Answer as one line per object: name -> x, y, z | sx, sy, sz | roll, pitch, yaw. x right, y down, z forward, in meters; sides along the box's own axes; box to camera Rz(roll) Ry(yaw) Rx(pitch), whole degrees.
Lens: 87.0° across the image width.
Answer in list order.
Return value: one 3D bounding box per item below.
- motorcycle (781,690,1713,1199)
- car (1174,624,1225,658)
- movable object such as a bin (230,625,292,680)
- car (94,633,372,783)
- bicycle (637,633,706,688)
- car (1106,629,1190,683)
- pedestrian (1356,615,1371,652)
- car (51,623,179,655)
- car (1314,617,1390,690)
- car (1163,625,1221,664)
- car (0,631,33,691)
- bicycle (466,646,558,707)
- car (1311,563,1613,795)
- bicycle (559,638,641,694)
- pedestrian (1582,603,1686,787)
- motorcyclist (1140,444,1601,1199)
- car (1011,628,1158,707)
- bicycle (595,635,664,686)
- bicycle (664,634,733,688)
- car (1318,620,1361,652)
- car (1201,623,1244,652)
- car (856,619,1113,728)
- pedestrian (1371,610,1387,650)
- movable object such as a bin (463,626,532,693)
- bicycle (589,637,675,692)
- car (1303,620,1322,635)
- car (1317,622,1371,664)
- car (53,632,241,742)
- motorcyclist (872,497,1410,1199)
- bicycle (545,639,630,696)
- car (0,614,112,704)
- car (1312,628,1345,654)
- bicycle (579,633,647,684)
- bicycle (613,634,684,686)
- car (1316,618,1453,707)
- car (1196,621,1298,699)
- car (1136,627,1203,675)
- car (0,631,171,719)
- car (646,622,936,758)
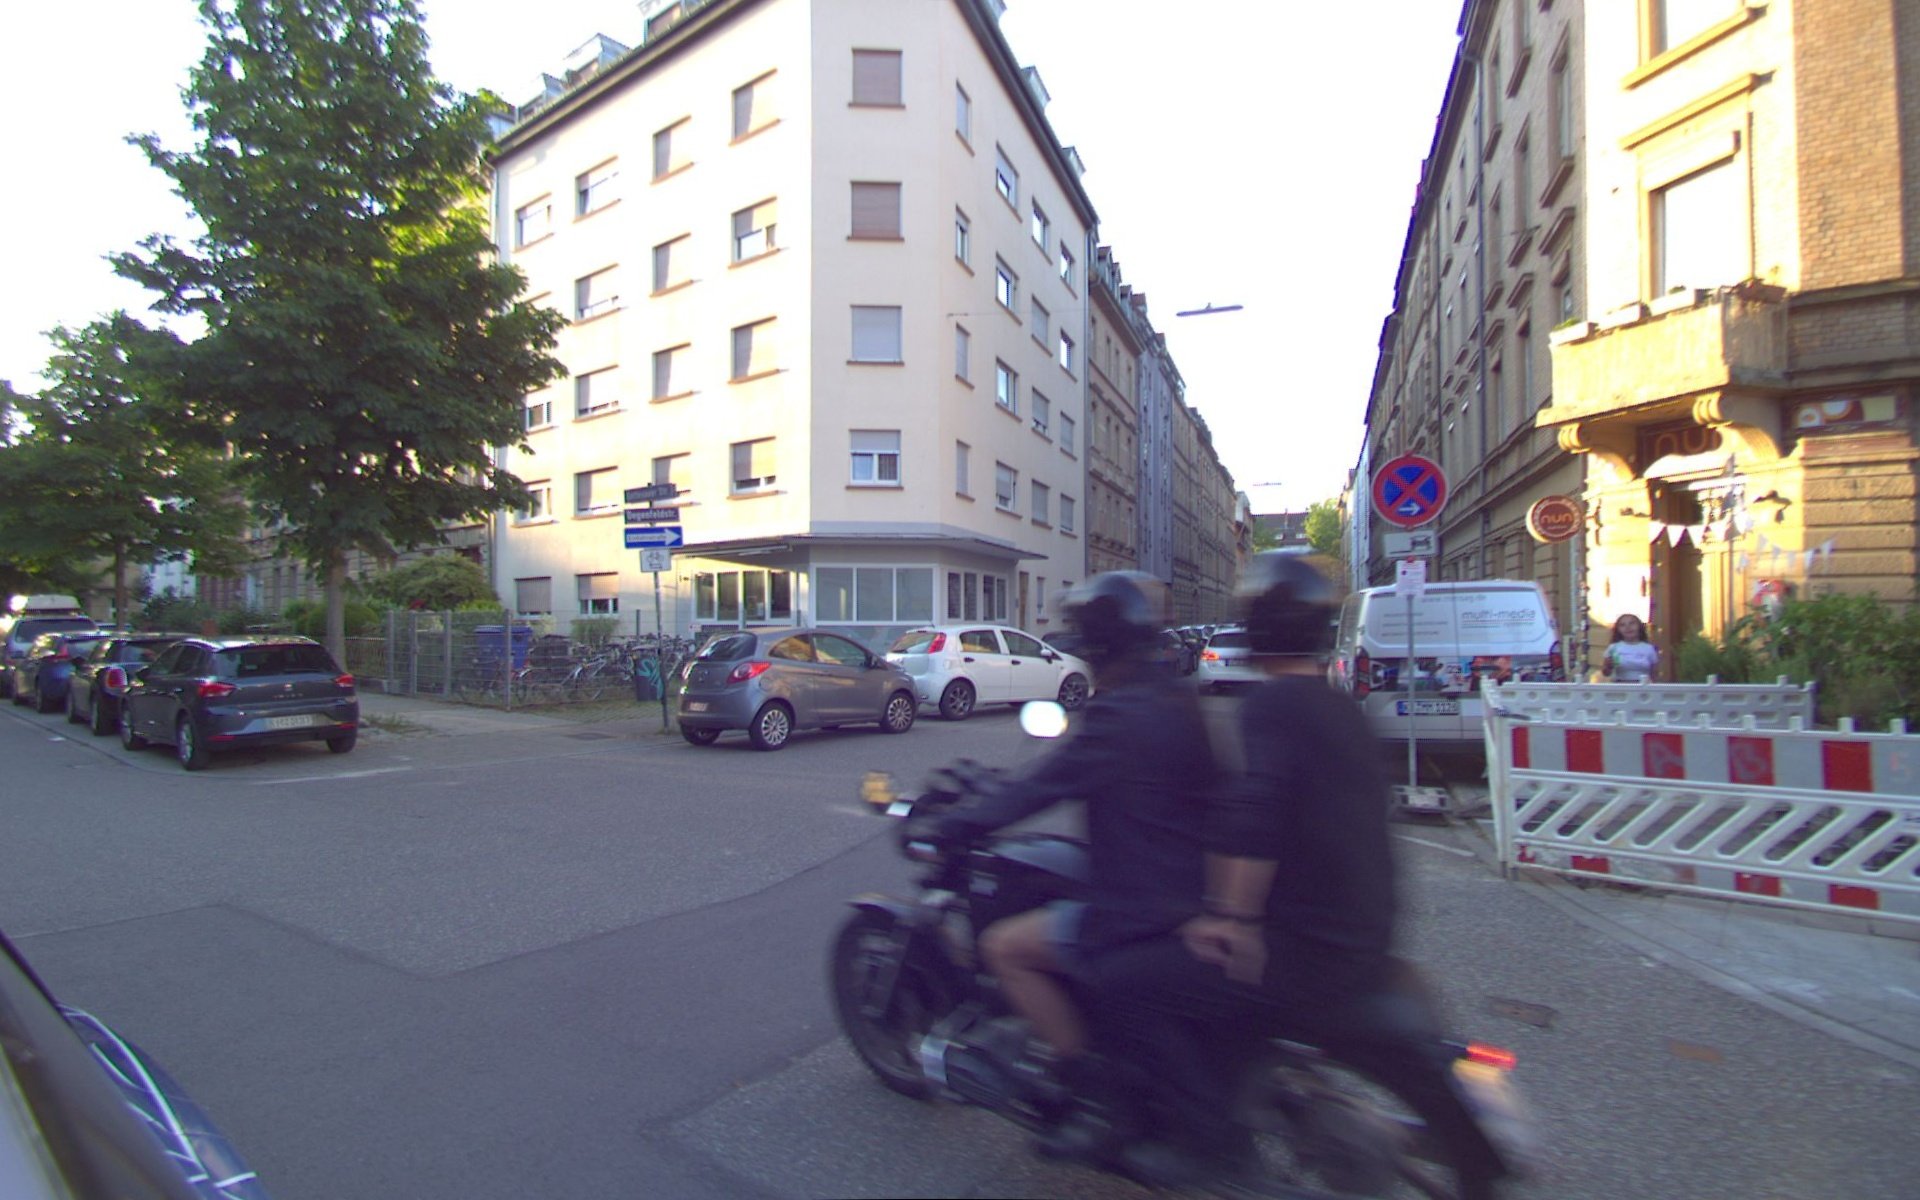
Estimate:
motorcycle -> 0.471, 0.884, 2.484 | 0.835, 1.218, 2.078 | 4, -4, -40
car -> 10.385, 1.758, 43.777 | 1.808, 1.418, 3.976 | -1, -2, 18
movable object such as a bin -> -18.739, 1.381, 27.126 | 1.549, 1.398, 0.937 | -1, 0, 37
car -> -9.062, 1.177, 12.475 | 4.458, 1.473, 1.658 | -1, -1, 39
bicycle -> -6.502, 1.350, 22.861 | 0.499, 1.150, 1.531 | -1, 0, 34
car -> 5.458, 1.561, 29.017 | 1.859, 1.419, 3.976 | -1, -2, 18
pedestrian -> 18.690, 1.545, 46.876 | 0.589, 1.699, 0.495 | -1, 0, 18
car -> -38.949, 1.780, 46.729 | 1.625, 1.351, 4.356 | -1, -1, 41
car -> 9.557, 1.272, 24.876 | 1.572, 1.635, 3.974 | -1, -2, 19
car -> 8.902, 1.671, 38.704 | 1.808, 1.418, 3.976 | -1, -2, 18
car -> -25.614, 1.568, 26.246 | 4.019, 1.452, 1.711 | -1, -1, 39
bicycle -> -8.440, 1.412, 19.040 | 1.927, 1.033, 0.681 | -1, 0, 35
car -> 5.304, 0.748, 11.559 | 2.190, 1.990, 5.265 | -1, -2, 17
bicycle -> -7.423, 1.350, 20.892 | 1.528, 1.100, 0.500 | -1, 0, 3
pedestrian -> 6.315, 0.852, 9.519 | 0.708, 1.630, 0.779 | -1, 0, 28
motorcyclist -> 0.839, 0.554, 2.031 | 0.777, 1.552, 0.546 | 4, -4, -40
car -> 2.683, 1.326, 20.966 | 1.986, 1.450, 4.047 | -1, -2, 23
bicycle -> -7.715, 1.398, 23.666 | 0.499, 1.100, 1.531 | -1, 0, 34
bicycle -> -5.792, 1.337, 22.471 | 0.499, 1.100, 1.531 | -1, 0, 34
car -> 19.224, 1.824, 51.424 | 1.875, 1.569, 3.975 | -1, -2, 19
car -> 13.574, 1.937, 52.252 | 1.914, 1.418, 3.976 | -1, -2, 18
car -> 0.475, 1.140, 17.171 | 4.007, 1.520, 1.978 | -1, 0, -38
pedestrian -> 19.242, 1.392, 46.514 | 0.589, 1.820, 0.495 | -1, 0, 18
movable object such as a bin -> -9.977, 1.259, 21.837 | 1.398, 1.362, 0.857 | -1, 0, 42
bicycle -> -6.901, 1.358, 21.311 | 1.689, 1.100, 0.384 | -1, 0, 4
car -> 35.258, 2.718, 101.292 | 1.774, 1.470, 3.974 | -1, -2, 19
car -> 14.509, 1.604, 38.359 | 1.774, 1.470, 3.974 | -1, -2, 19
car -> -12.873, 1.260, 15.931 | 4.142, 1.431, 1.723 | -1, -1, 43
motorcyclist -> 0.442, 0.594, 2.549 | 0.878, 1.516, 0.971 | 4, -4, -40
bicycle -> -7.497, 1.354, 20.377 | 1.528, 1.100, 0.500 | -1, 0, 3
car -> -20.602, 1.235, 22.524 | 4.618, 1.792, 1.843 | -1, -1, 39
car -> 22.055, 2.426, 60.627 | 1.774, 1.470, 3.974 | -1, -2, 19
bicycle -> -8.210, 1.366, 23.970 | 0.499, 1.100, 1.531 | -1, 0, 34
bicycle -> -7.165, 1.363, 23.354 | 0.499, 1.100, 1.617 | -1, 0, 34
car -> 8.324, 1.180, 20.209 | 2.005, 1.583, 3.899 | -1, -2, 16
car -> 6.515, 1.269, 22.666 | 1.808, 1.534, 4.566 | 0, -2, 21
car -> 7.055, 1.661, 33.779 | 1.773, 1.478, 3.976 | -1, -2, 18
car -> -16.789, 1.336, 19.280 | 4.586, 1.423, 1.843 | -1, -1, 39
car -> -2.160, 1.087, 13.548 | 1.843, 1.519, 3.471 | -2, -2, 39
